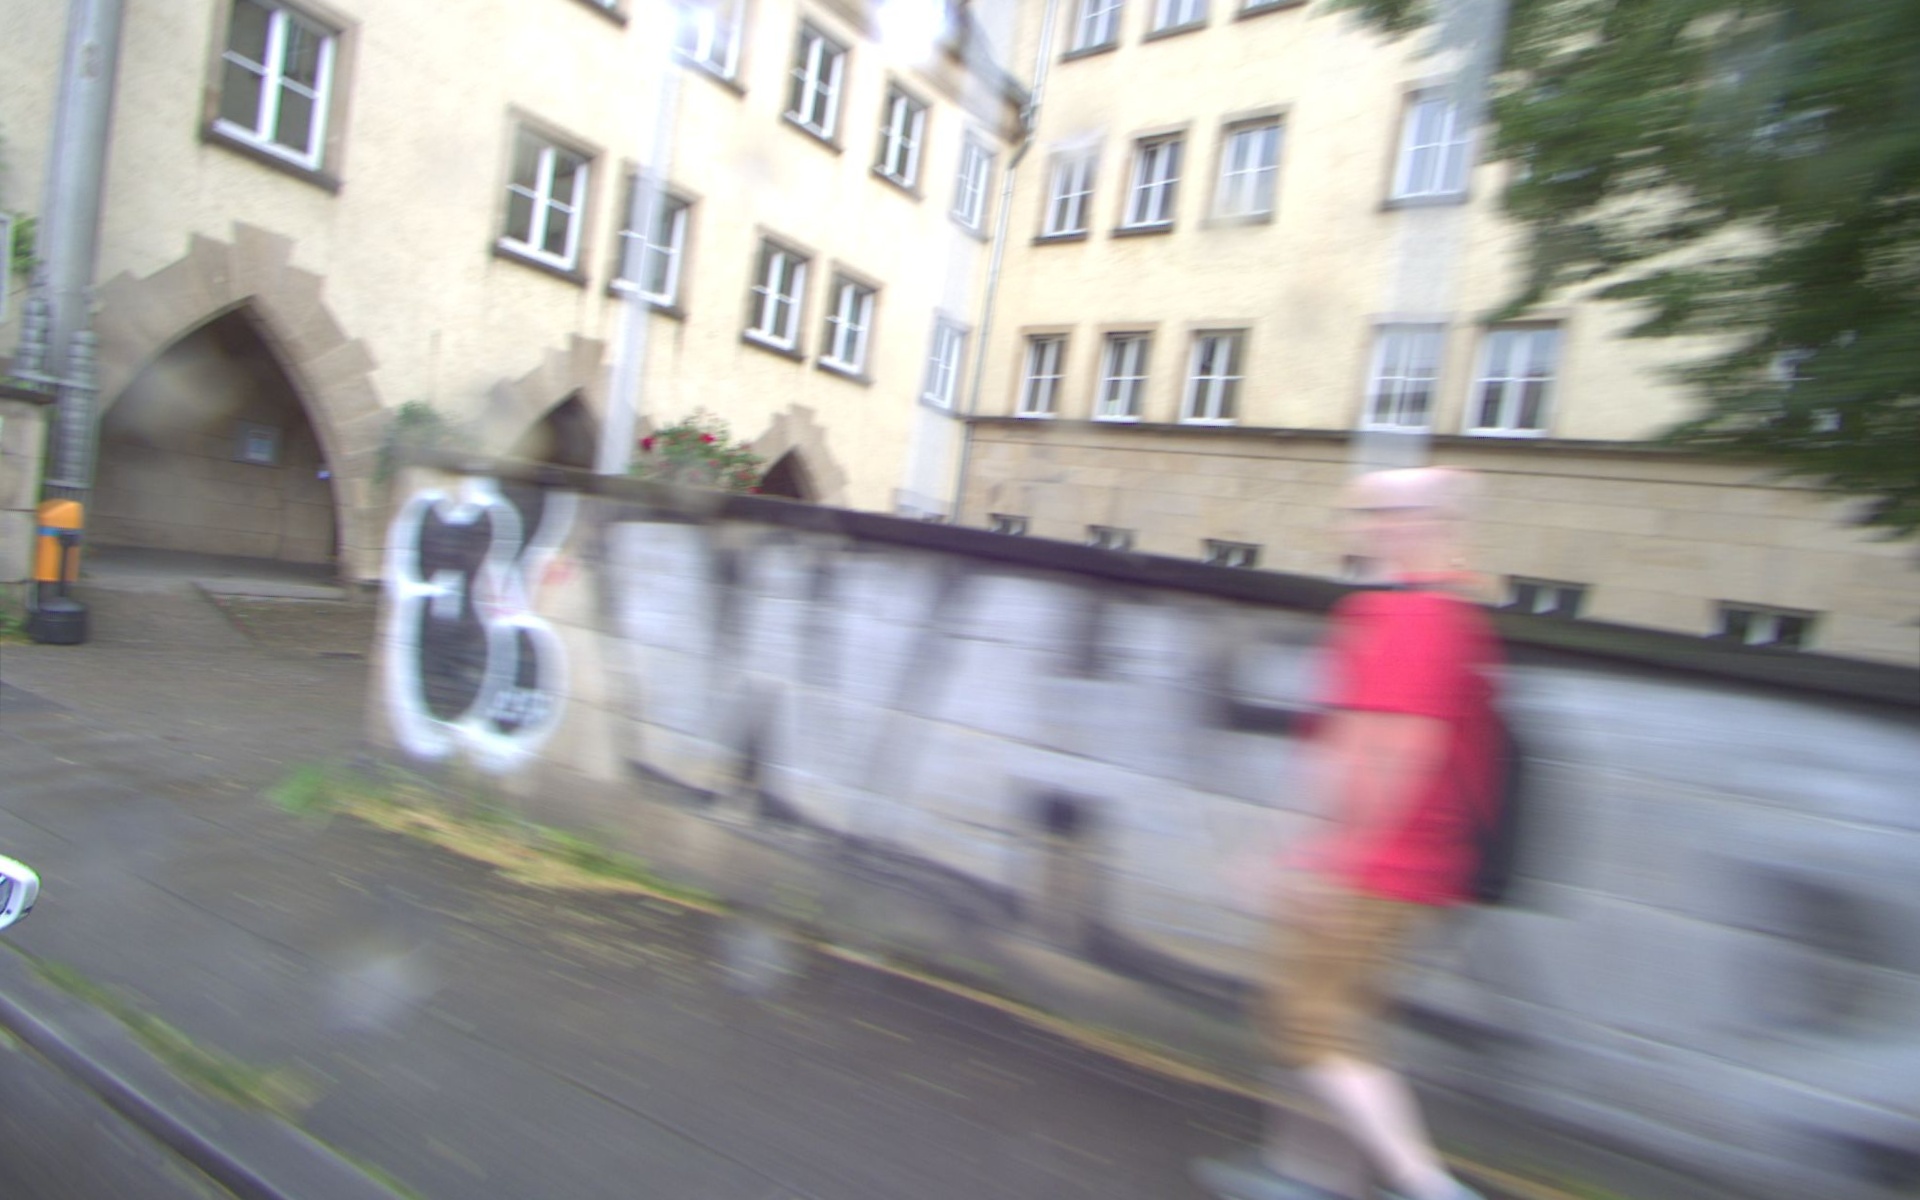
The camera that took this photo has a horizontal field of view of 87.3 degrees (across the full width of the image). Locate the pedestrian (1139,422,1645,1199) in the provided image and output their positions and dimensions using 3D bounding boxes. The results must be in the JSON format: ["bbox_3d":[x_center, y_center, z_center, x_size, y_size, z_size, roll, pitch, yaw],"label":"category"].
[{"bbox_3d":[0.910,0.560,2.159,0.699,1.743,0.633,7,2,31],"label":"pedestrian"}]
